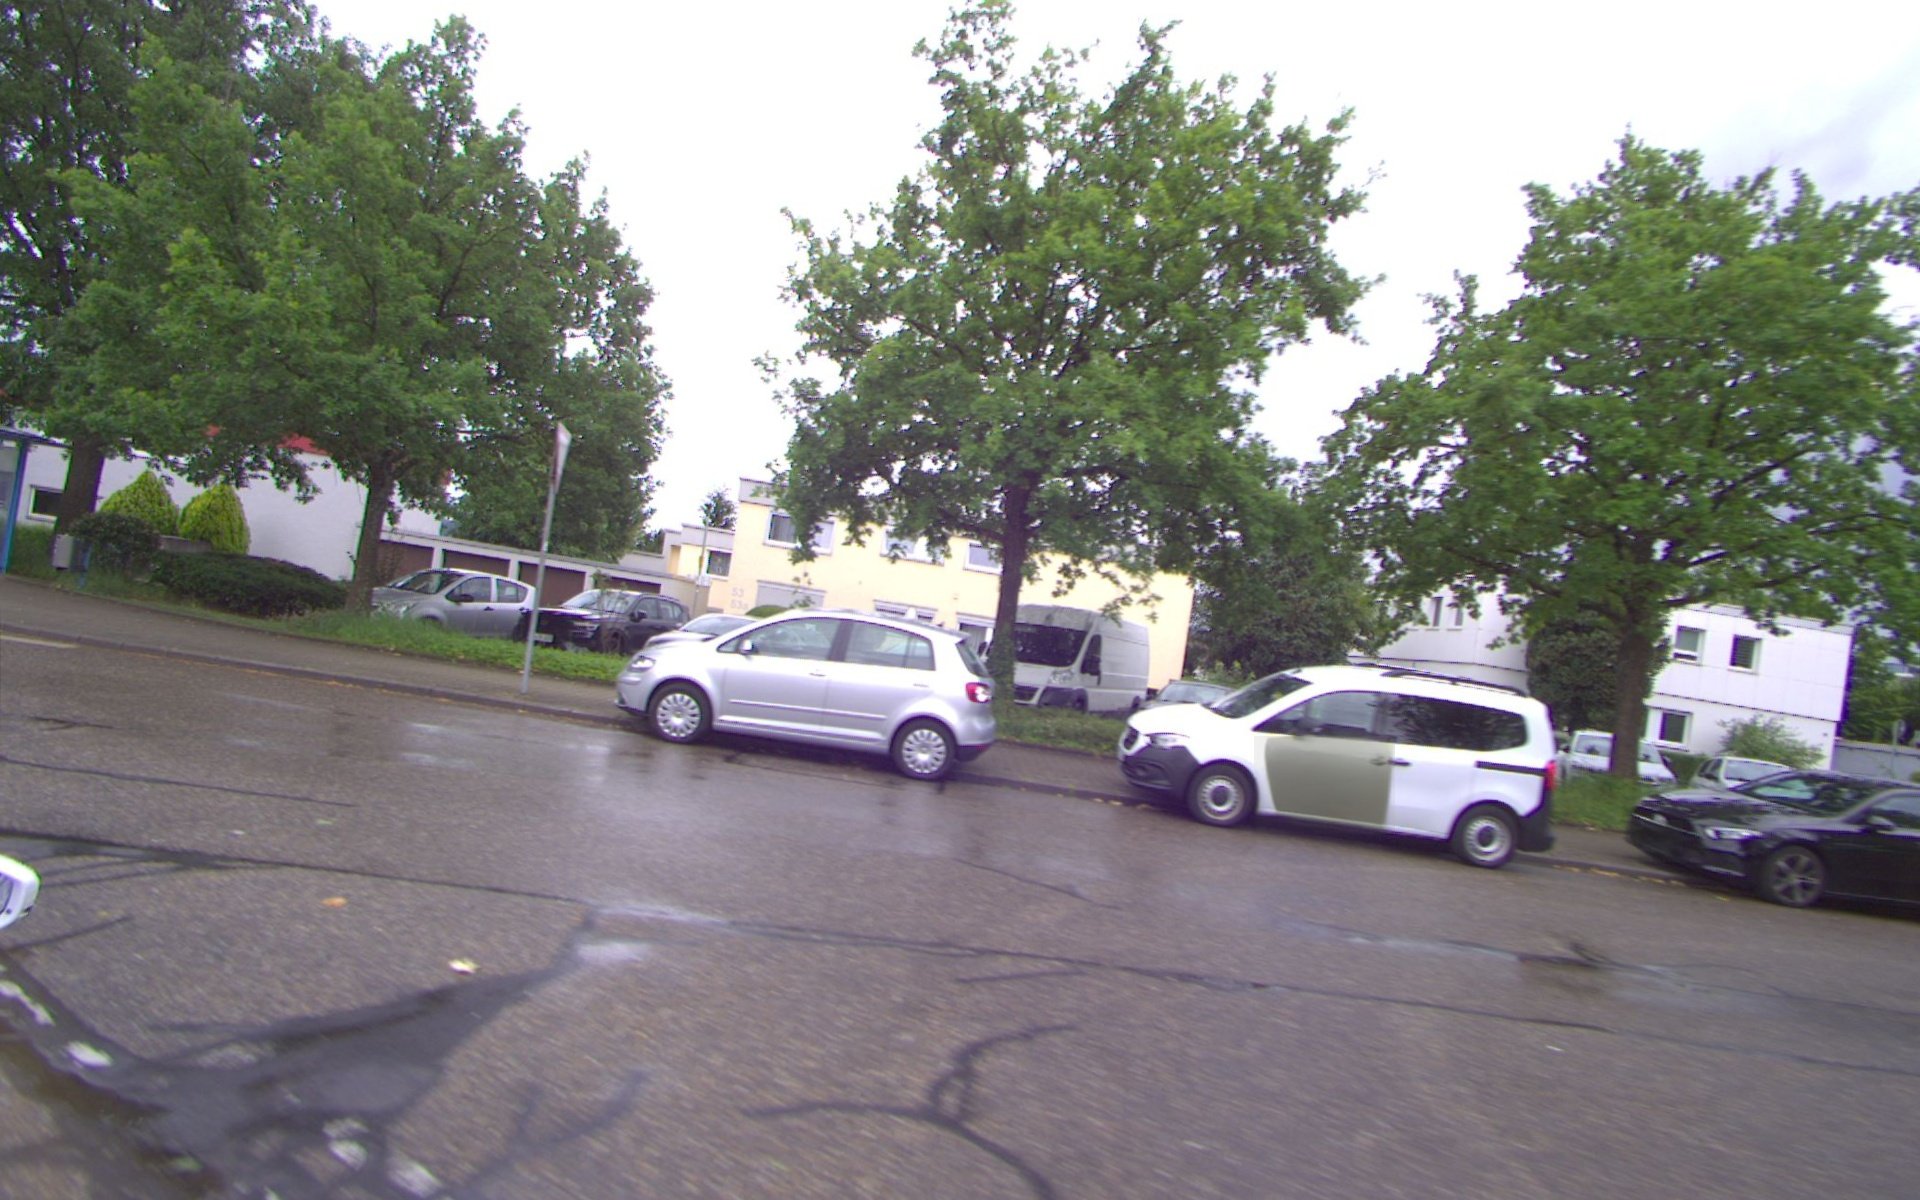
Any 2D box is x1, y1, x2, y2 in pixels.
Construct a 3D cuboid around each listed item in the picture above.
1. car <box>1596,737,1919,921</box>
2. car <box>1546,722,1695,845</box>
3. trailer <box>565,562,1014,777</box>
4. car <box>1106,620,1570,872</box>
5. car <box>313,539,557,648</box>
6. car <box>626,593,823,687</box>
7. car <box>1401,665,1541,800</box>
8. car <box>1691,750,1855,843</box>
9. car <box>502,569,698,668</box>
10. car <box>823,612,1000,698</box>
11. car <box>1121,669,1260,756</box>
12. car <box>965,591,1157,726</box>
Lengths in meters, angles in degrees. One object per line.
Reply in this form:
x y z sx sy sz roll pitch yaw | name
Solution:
9.754 2.605 11.219 4.112 1.398 1.766 8 -1 -2 | car
12.920 3.506 19.924 1.792 1.794 3.901 7 -1 26 | car
-1.725 0.734 11.141 4.345 1.561 2.001 8 -1 -1 | trailer
3.883 1.479 10.992 4.134 1.903 2.002 8 -1 3 | car
-9.639 -0.044 18.787 1.728 1.503 3.660 7 -2 22 | car
-4.235 0.818 18.814 1.701 1.352 4.048 8 -2 16 | car
9.934 2.486 19.720 1.965 2.037 4.763 7 -1 26 | car
15.626 3.726 19.521 1.556 1.244 3.300 7 -2 24 | car
-6.746 0.435 19.292 1.726 1.503 3.663 8 -2 12 | car
-0.835 1.156 19.955 1.818 1.311 4.002 7 -2 23 | car
4.654 2.211 19.912 1.621 1.311 3.999 7 -2 27 | car
2.214 1.200 19.922 1.963 2.037 5.840 7 -1 23 | car
